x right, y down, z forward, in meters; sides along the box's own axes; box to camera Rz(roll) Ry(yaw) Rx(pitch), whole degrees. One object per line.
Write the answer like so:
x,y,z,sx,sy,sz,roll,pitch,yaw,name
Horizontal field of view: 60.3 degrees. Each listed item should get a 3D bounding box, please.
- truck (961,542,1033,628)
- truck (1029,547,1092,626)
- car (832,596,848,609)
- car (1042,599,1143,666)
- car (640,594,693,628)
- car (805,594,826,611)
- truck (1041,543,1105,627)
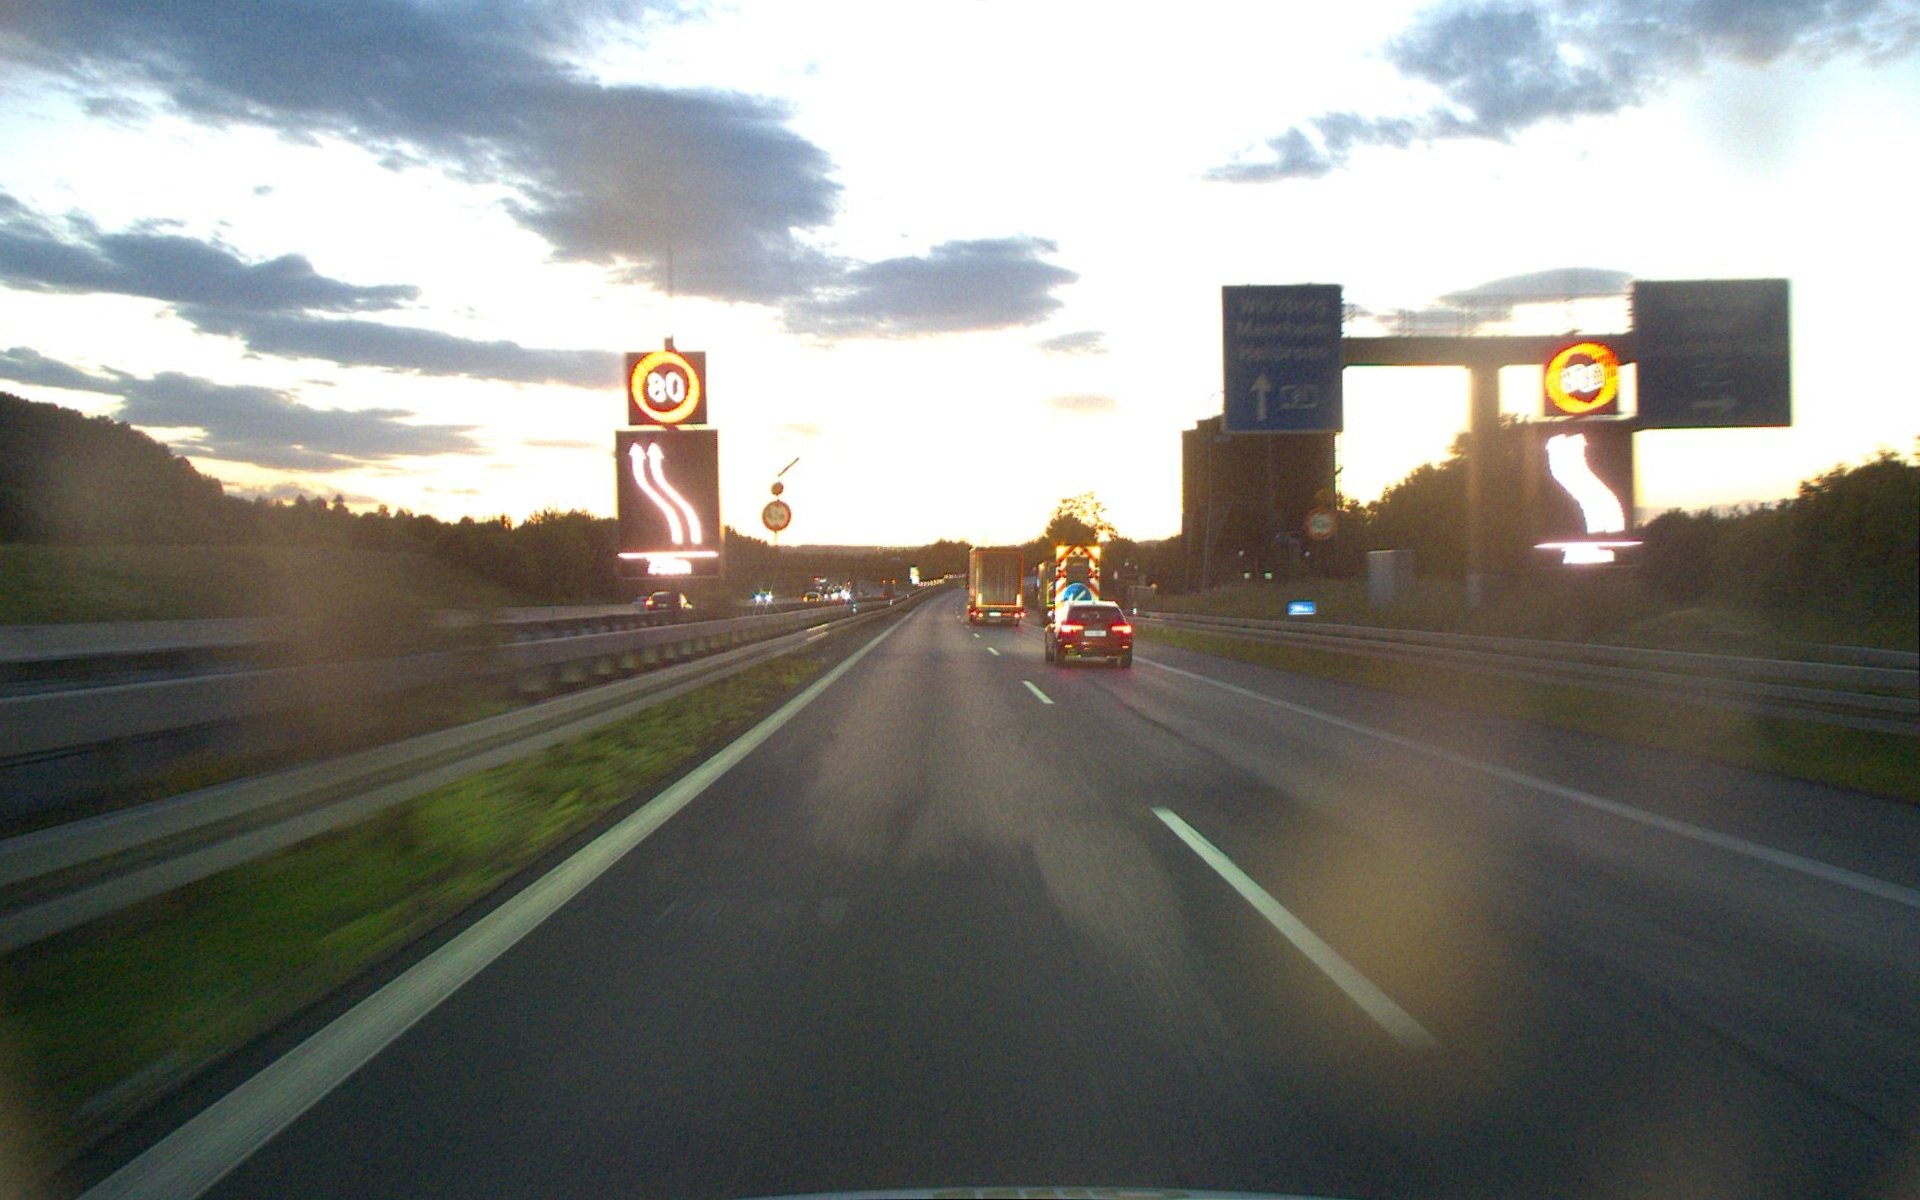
1.910,-0.772,90.377,3.439,4.376,9.888,-1,0,-1,truck
5.548,-0.727,92.784,2.854,4.183,9.147,0,0,-1,truck
-14.430,0.297,198.566,1.604,1.573,3.394,-1,0,-1,car
3.010,0.721,38.278,1.876,1.467,3.998,0,0,-2,car
-14.477,0.537,81.807,1.834,1.588,4.519,-2,0,-1,car
-14.041,0.254,160.722,1.678,1.634,3.721,-1,0,-1,car
5.736,-0.744,84.943,2.731,4.130,6.410,0,0,-1,truck
